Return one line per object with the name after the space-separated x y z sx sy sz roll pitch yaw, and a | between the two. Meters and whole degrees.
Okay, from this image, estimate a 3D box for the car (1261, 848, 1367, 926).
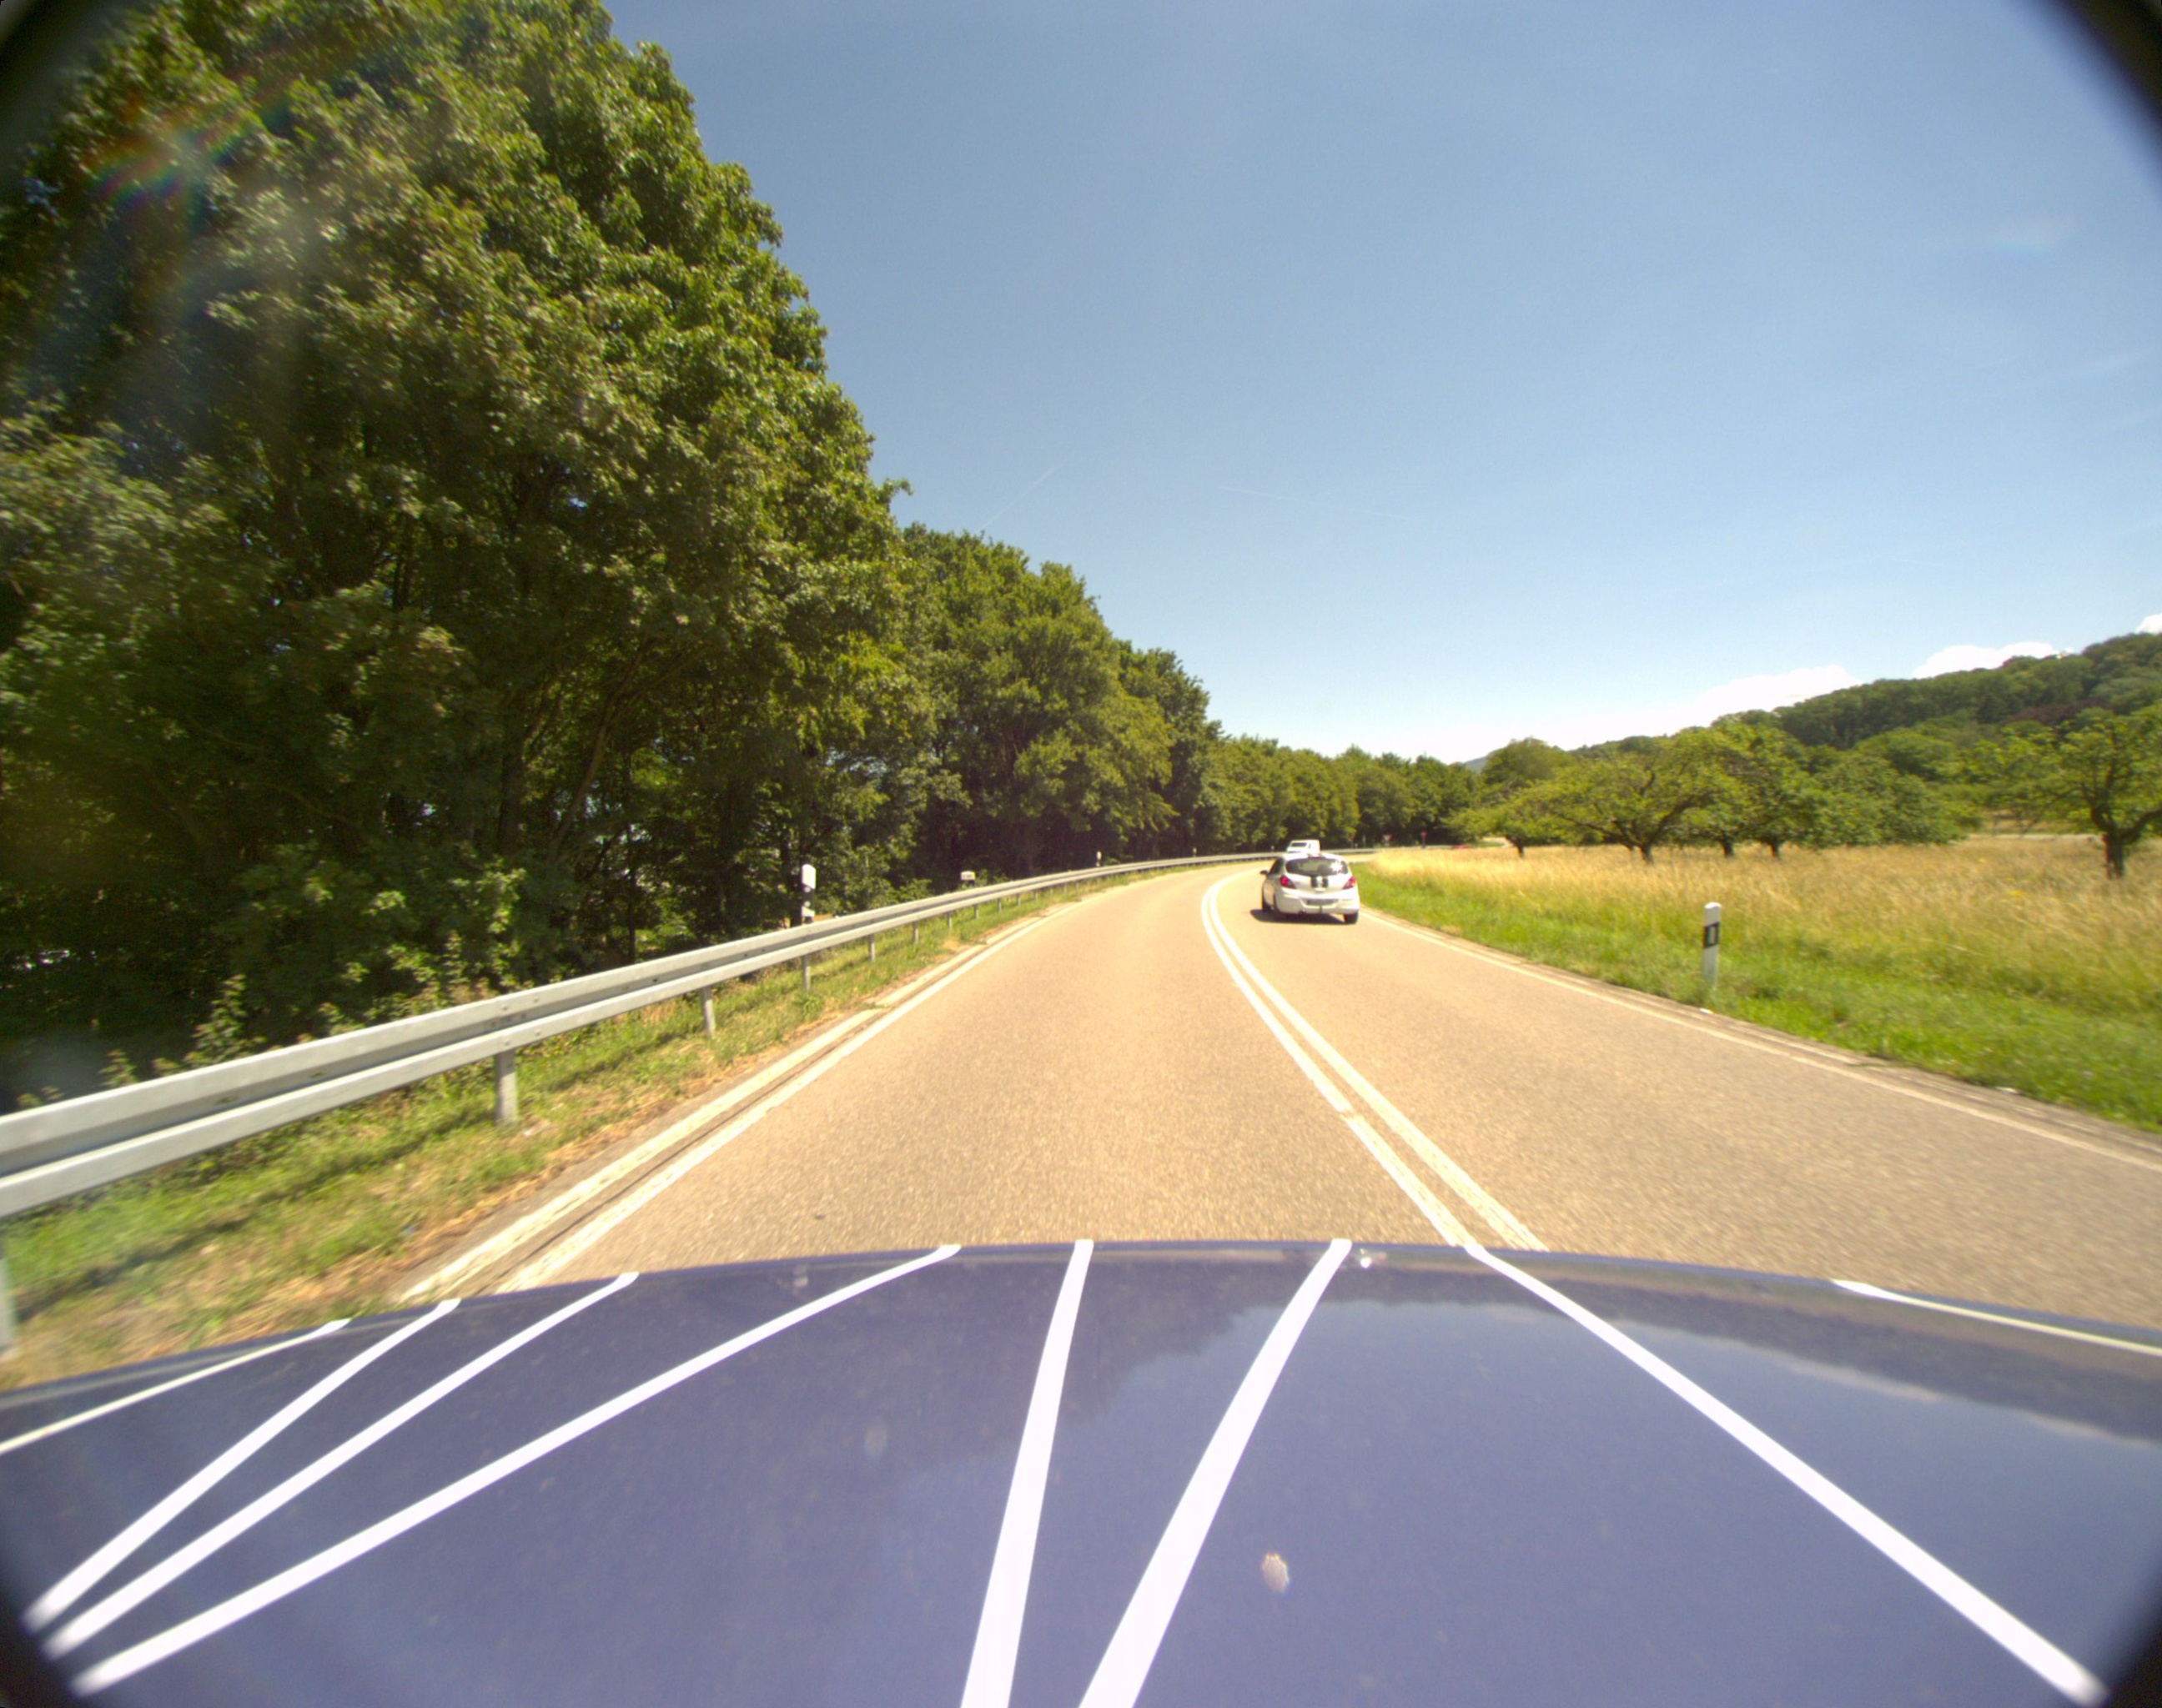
5.127 0.645 17.224 1.825 1.498 4.175 1 0 11 | car

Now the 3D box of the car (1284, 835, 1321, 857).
21.727 -0.820 74.345 2.220 2.021 5.437 -1 1 31 | car

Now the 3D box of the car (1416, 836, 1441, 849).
43.376 -1.478 94.883 1.822 1.450 4.408 4 5 37 | car
